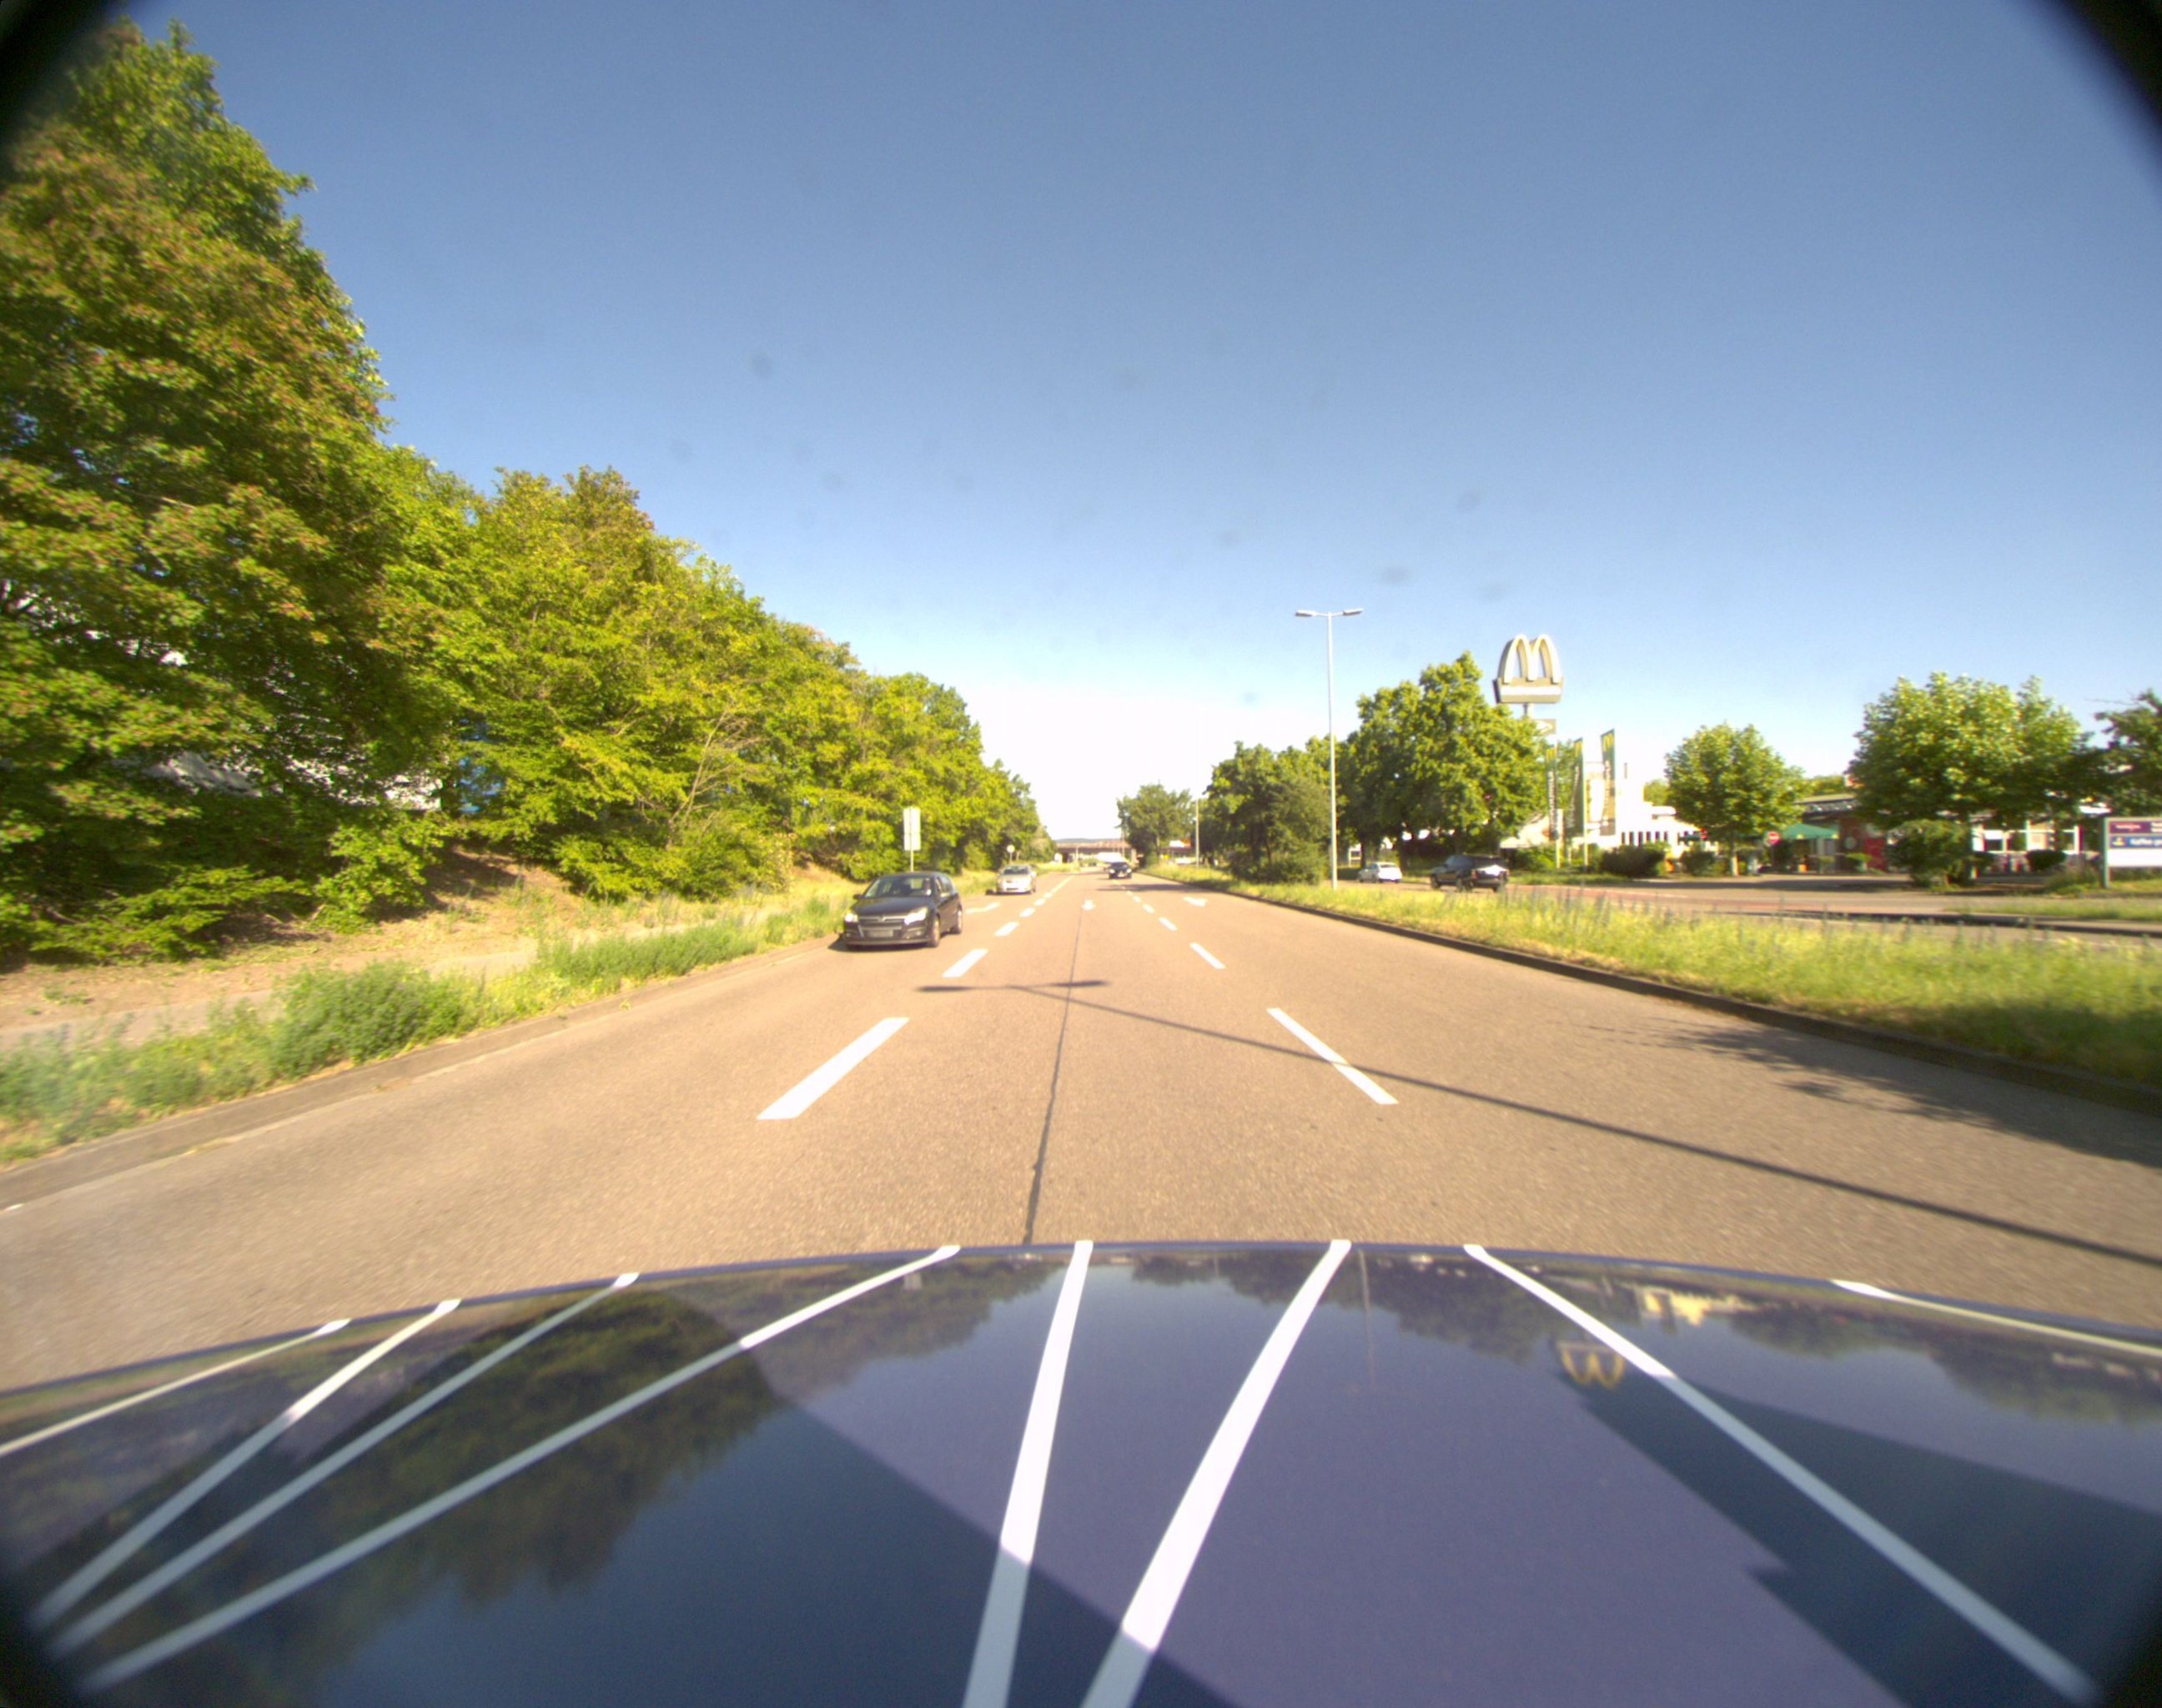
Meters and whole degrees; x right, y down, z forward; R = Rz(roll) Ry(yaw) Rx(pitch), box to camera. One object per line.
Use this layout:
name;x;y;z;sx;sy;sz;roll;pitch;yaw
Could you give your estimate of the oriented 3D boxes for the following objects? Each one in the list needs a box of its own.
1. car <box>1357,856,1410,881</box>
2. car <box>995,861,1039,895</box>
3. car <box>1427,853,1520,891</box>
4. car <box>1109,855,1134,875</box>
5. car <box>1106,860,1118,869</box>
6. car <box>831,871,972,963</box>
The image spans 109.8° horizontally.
car;20.729;0.980;52.256;1.998;1.542;4.142;-2;1;1
car;-3.186;1.185;38.682;1.788;1.528;4.108;-2;0;1
car;18.675;0.802;36.414;1.998;1.619;4.771;-2;1;1
car;3.348;0.878;63.866;1.788;1.592;4.583;-2;0;0
car;5.390;1.811;131.818;2.025;1.601;4.098;-2;0;1
car;-3.473;1.157;15.544;1.738;1.433;4.371;-2;0;1
